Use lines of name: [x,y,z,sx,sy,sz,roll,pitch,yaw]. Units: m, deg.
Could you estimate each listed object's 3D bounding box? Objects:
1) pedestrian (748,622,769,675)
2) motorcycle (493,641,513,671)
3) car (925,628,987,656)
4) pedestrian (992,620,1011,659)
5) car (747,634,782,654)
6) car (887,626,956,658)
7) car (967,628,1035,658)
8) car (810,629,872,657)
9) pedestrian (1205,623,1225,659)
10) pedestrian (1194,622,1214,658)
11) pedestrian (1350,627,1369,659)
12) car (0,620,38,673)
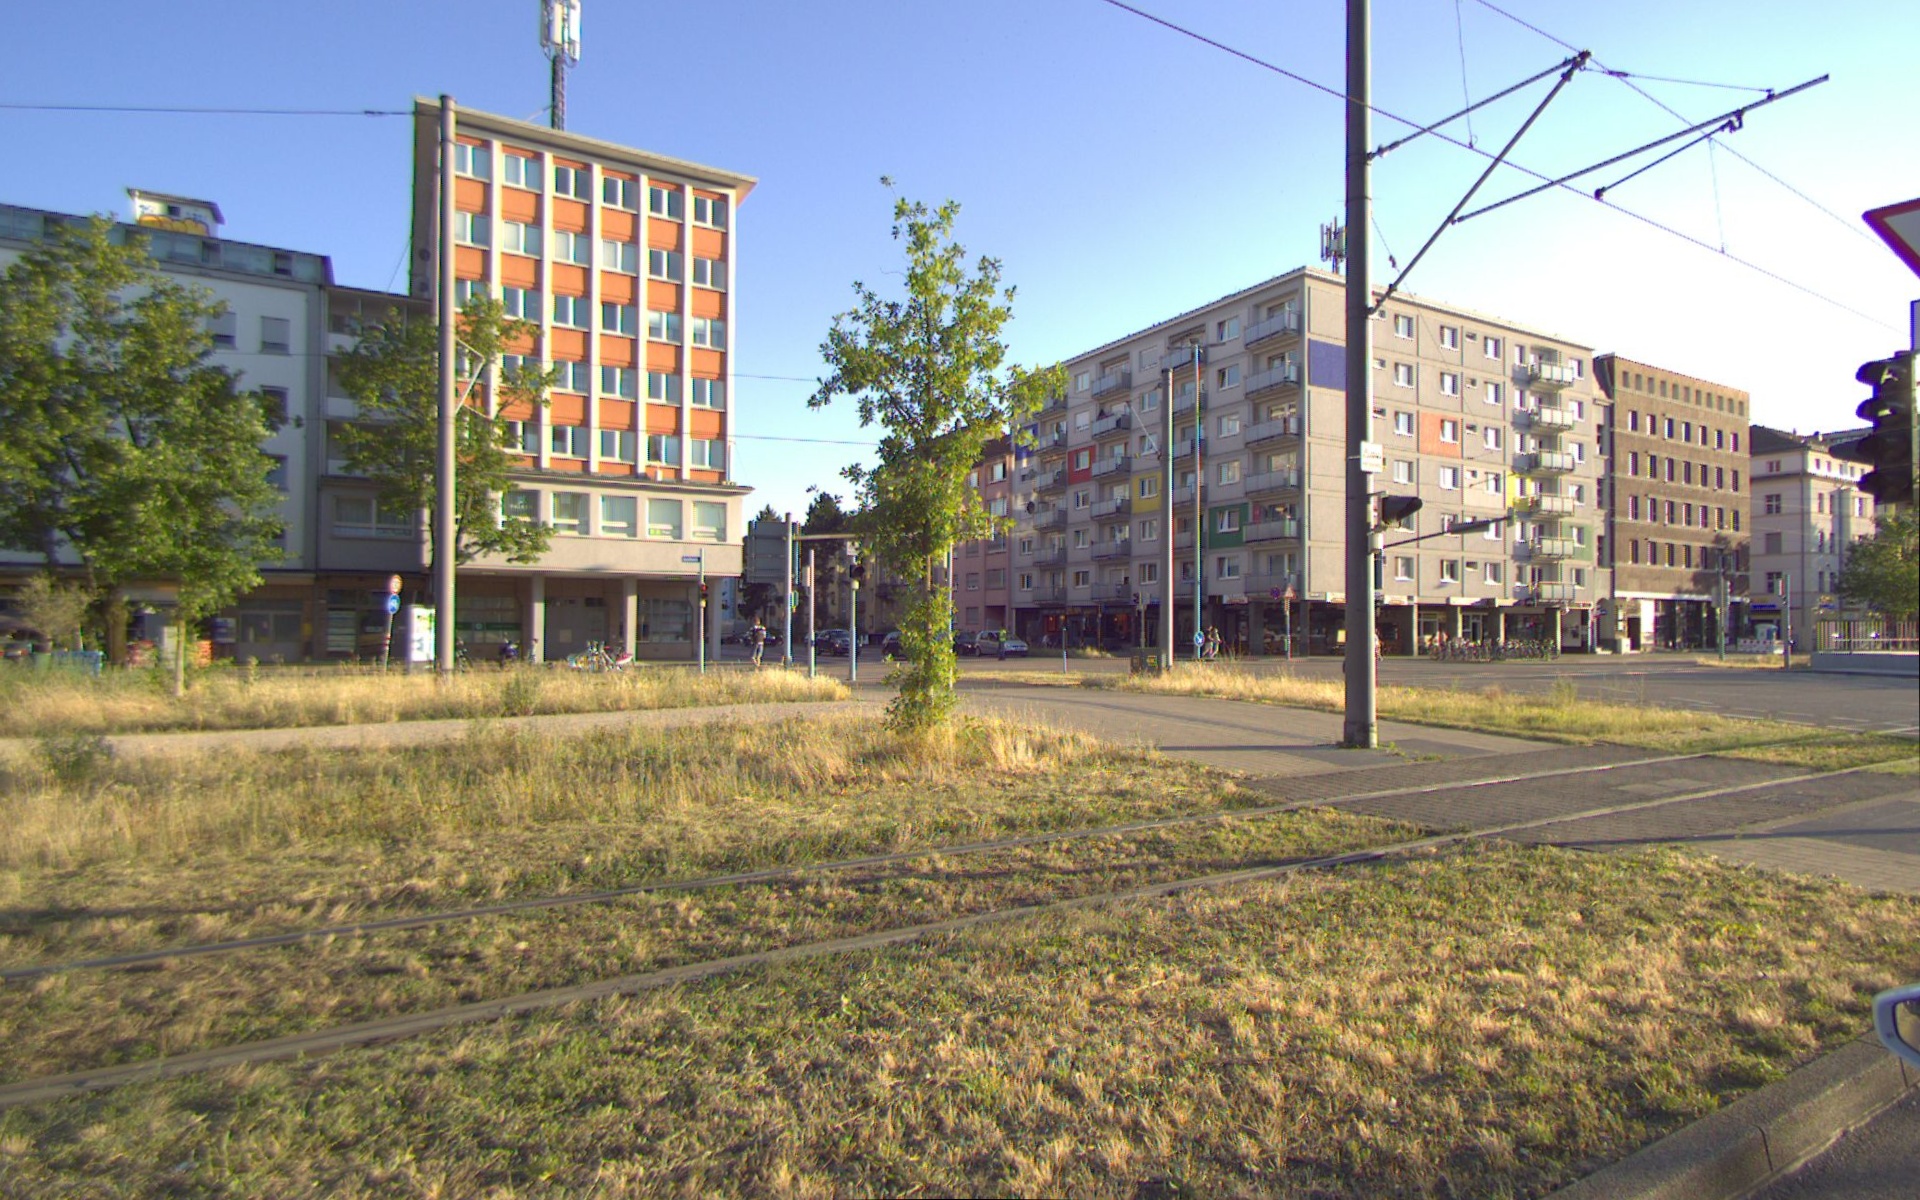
pedestrian: [-6.949,1.669,34.646,0.638,1.786,0.721,-1,-1,-9]
motorcycle: [-17.380,2.122,38.209,0.525,1.082,1.442,0,-1,-31]
car: [-0.276,2.469,59.566,1.786,1.606,3.839,0,-1,-35]
pedestrian: [2.028,1.936,49.030,0.673,1.872,0.630,-1,-1,-30]
car: [-16.816,3.771,86.446,1.804,1.572,3.969,0,-1,-30]
car: [-2.055,2.198,52.221,1.786,1.606,3.840,0,-2,-35]
car: [2.240,2.344,55.410,1.786,1.606,3.839,0,-1,-35]
car: [-7.338,2.635,61.648,1.969,1.606,4.252,0,-1,-35]
pedestrian: [13.368,2.128,52.707,0.812,1.872,0.599,-1,-1,-30]
pedestrian: [12.991,2.139,53.425,0.728,1.876,0.701,-1,-1,-30]
pedestrian: [21.449,2.326,53.940,0.767,1.692,0.741,-1,-1,7]
car: [-30.179,1.404,29.559,4.213,1.547,1.758,-1,-1,-8]
